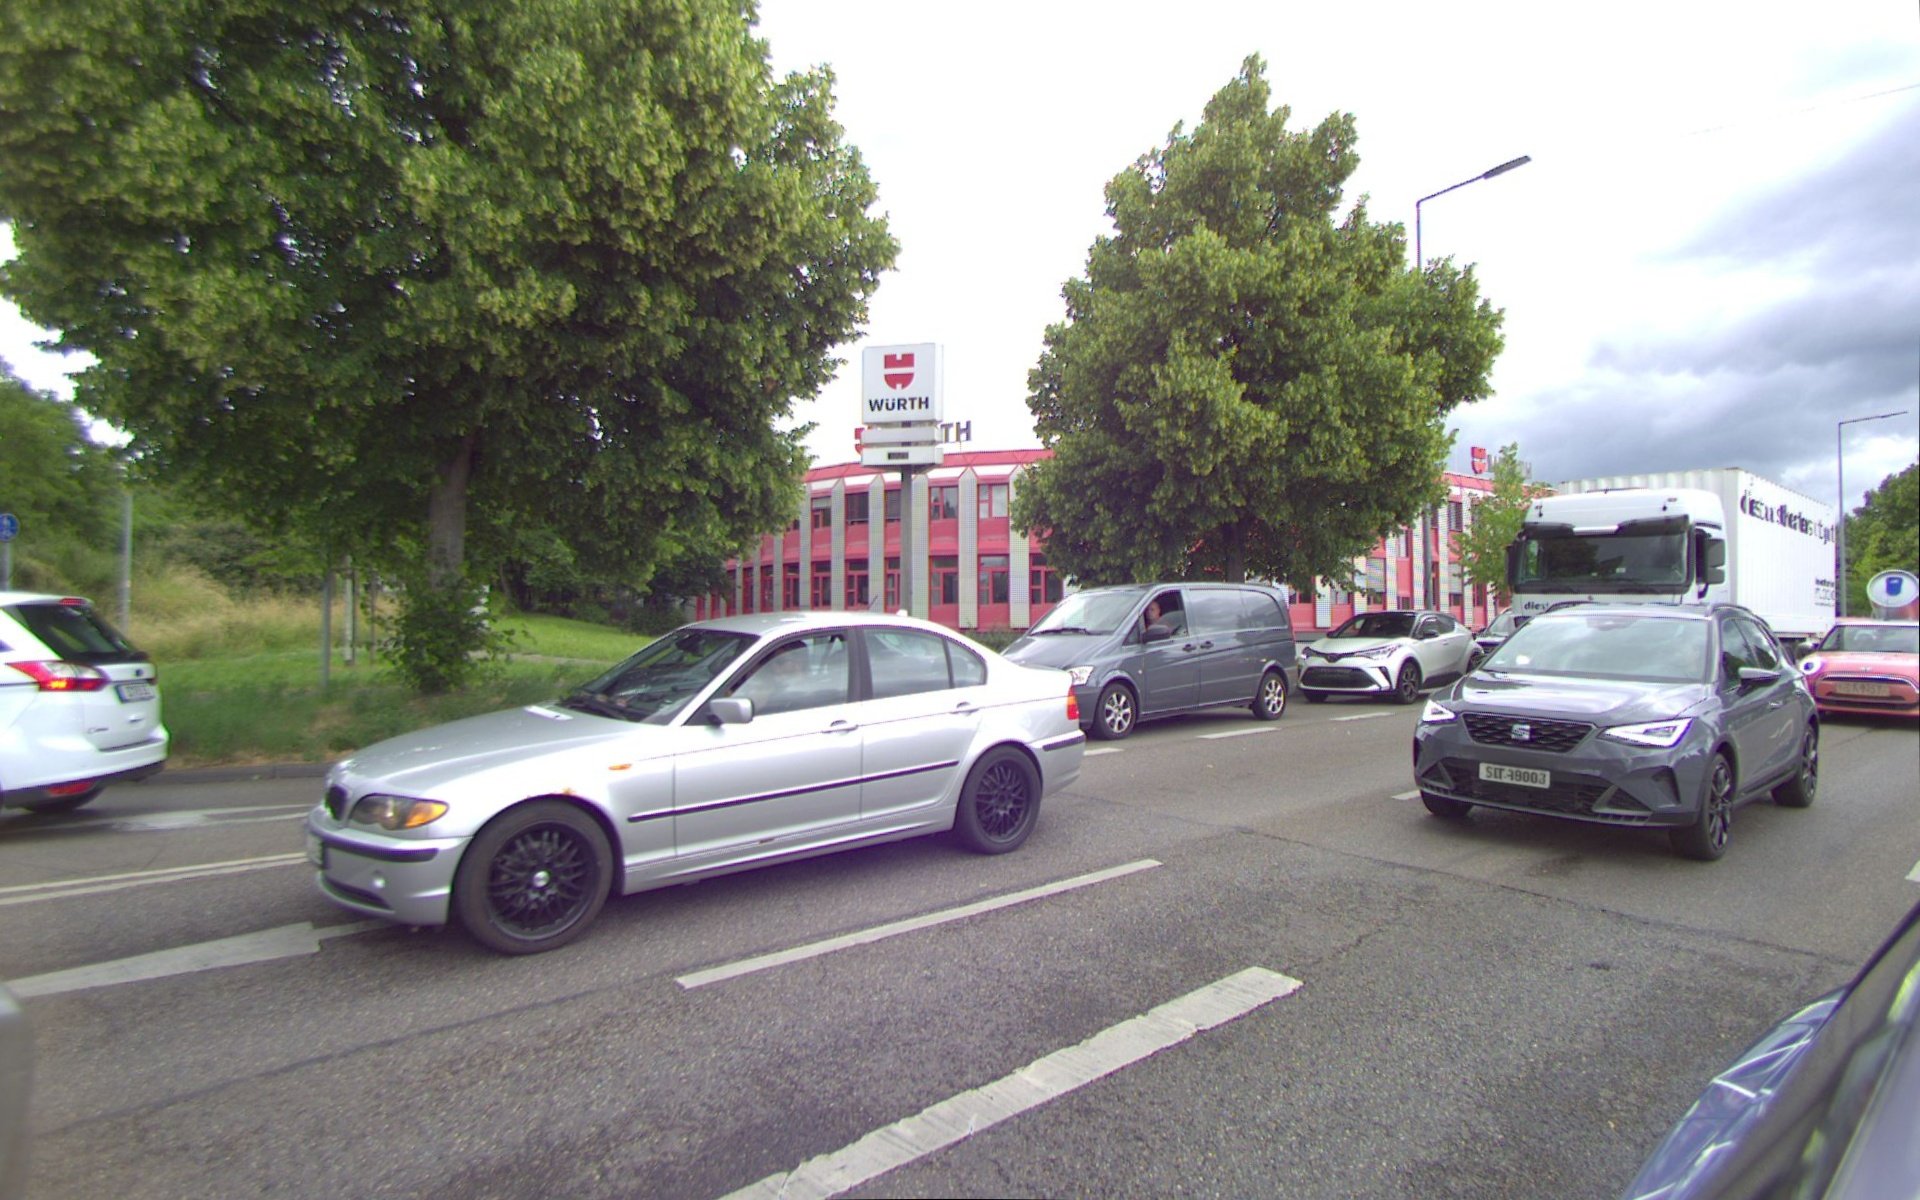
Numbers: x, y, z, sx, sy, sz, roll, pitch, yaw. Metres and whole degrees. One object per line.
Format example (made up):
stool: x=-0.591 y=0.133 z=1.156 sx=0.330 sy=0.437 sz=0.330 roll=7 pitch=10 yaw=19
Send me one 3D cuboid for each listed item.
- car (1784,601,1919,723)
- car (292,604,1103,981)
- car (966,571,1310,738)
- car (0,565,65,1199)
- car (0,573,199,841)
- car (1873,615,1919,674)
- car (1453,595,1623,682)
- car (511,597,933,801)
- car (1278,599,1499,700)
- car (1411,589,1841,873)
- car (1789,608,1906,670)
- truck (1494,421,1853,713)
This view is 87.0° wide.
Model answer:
car: x=13.112 y=0.785 z=14.151 sx=3.431 sy=1.525 sz=1.825 roll=1 pitch=0 yaw=-39
car: x=-1.228 y=0.730 z=5.849 sx=4.215 sy=1.400 sz=1.749 roll=0 pitch=0 yaw=-41
car: x=2.418 y=0.646 z=13.067 sx=4.591 sy=1.798 sz=1.761 roll=0 pitch=-4 yaw=-40
car: x=-3.286 y=0.676 z=0.644 sx=3.927 sy=1.527 sz=1.750 roll=1 pitch=-1 yaw=-38
car: x=-7.873 y=0.681 z=6.616 sx=4.278 sy=1.676 sz=1.767 roll=0 pitch=-1 yaw=-20
car: x=28.485 y=1.281 z=29.728 sx=4.141 sy=1.549 sz=1.798 roll=-1 pitch=0 yaw=-38
car: x=12.382 y=0.803 z=21.581 sx=4.133 sy=1.679 sz=1.863 roll=1 pitch=-3 yaw=-41
car: x=-2.150 y=0.758 z=9.428 sx=3.495 sy=1.525 sz=1.608 roll=-1 pitch=0 yaw=-34
car: x=7.397 y=0.799 z=17.321 sx=4.034 sy=1.536 sz=1.842 roll=0 pitch=-4 yaw=-41
car: x=4.913 y=0.724 z=7.263 sx=3.769 sy=1.512 sz=1.627 roll=1 pitch=-1 yaw=-41
car: x=24.182 y=1.023 z=27.536 sx=4.299 sy=1.549 sz=1.850 roll=1 pitch=-1 yaw=-41
truck: x=13.085 y=-0.429 z=18.027 sx=10.000 sy=3.953 sz=2.808 roll=0 pitch=0 yaw=-40
